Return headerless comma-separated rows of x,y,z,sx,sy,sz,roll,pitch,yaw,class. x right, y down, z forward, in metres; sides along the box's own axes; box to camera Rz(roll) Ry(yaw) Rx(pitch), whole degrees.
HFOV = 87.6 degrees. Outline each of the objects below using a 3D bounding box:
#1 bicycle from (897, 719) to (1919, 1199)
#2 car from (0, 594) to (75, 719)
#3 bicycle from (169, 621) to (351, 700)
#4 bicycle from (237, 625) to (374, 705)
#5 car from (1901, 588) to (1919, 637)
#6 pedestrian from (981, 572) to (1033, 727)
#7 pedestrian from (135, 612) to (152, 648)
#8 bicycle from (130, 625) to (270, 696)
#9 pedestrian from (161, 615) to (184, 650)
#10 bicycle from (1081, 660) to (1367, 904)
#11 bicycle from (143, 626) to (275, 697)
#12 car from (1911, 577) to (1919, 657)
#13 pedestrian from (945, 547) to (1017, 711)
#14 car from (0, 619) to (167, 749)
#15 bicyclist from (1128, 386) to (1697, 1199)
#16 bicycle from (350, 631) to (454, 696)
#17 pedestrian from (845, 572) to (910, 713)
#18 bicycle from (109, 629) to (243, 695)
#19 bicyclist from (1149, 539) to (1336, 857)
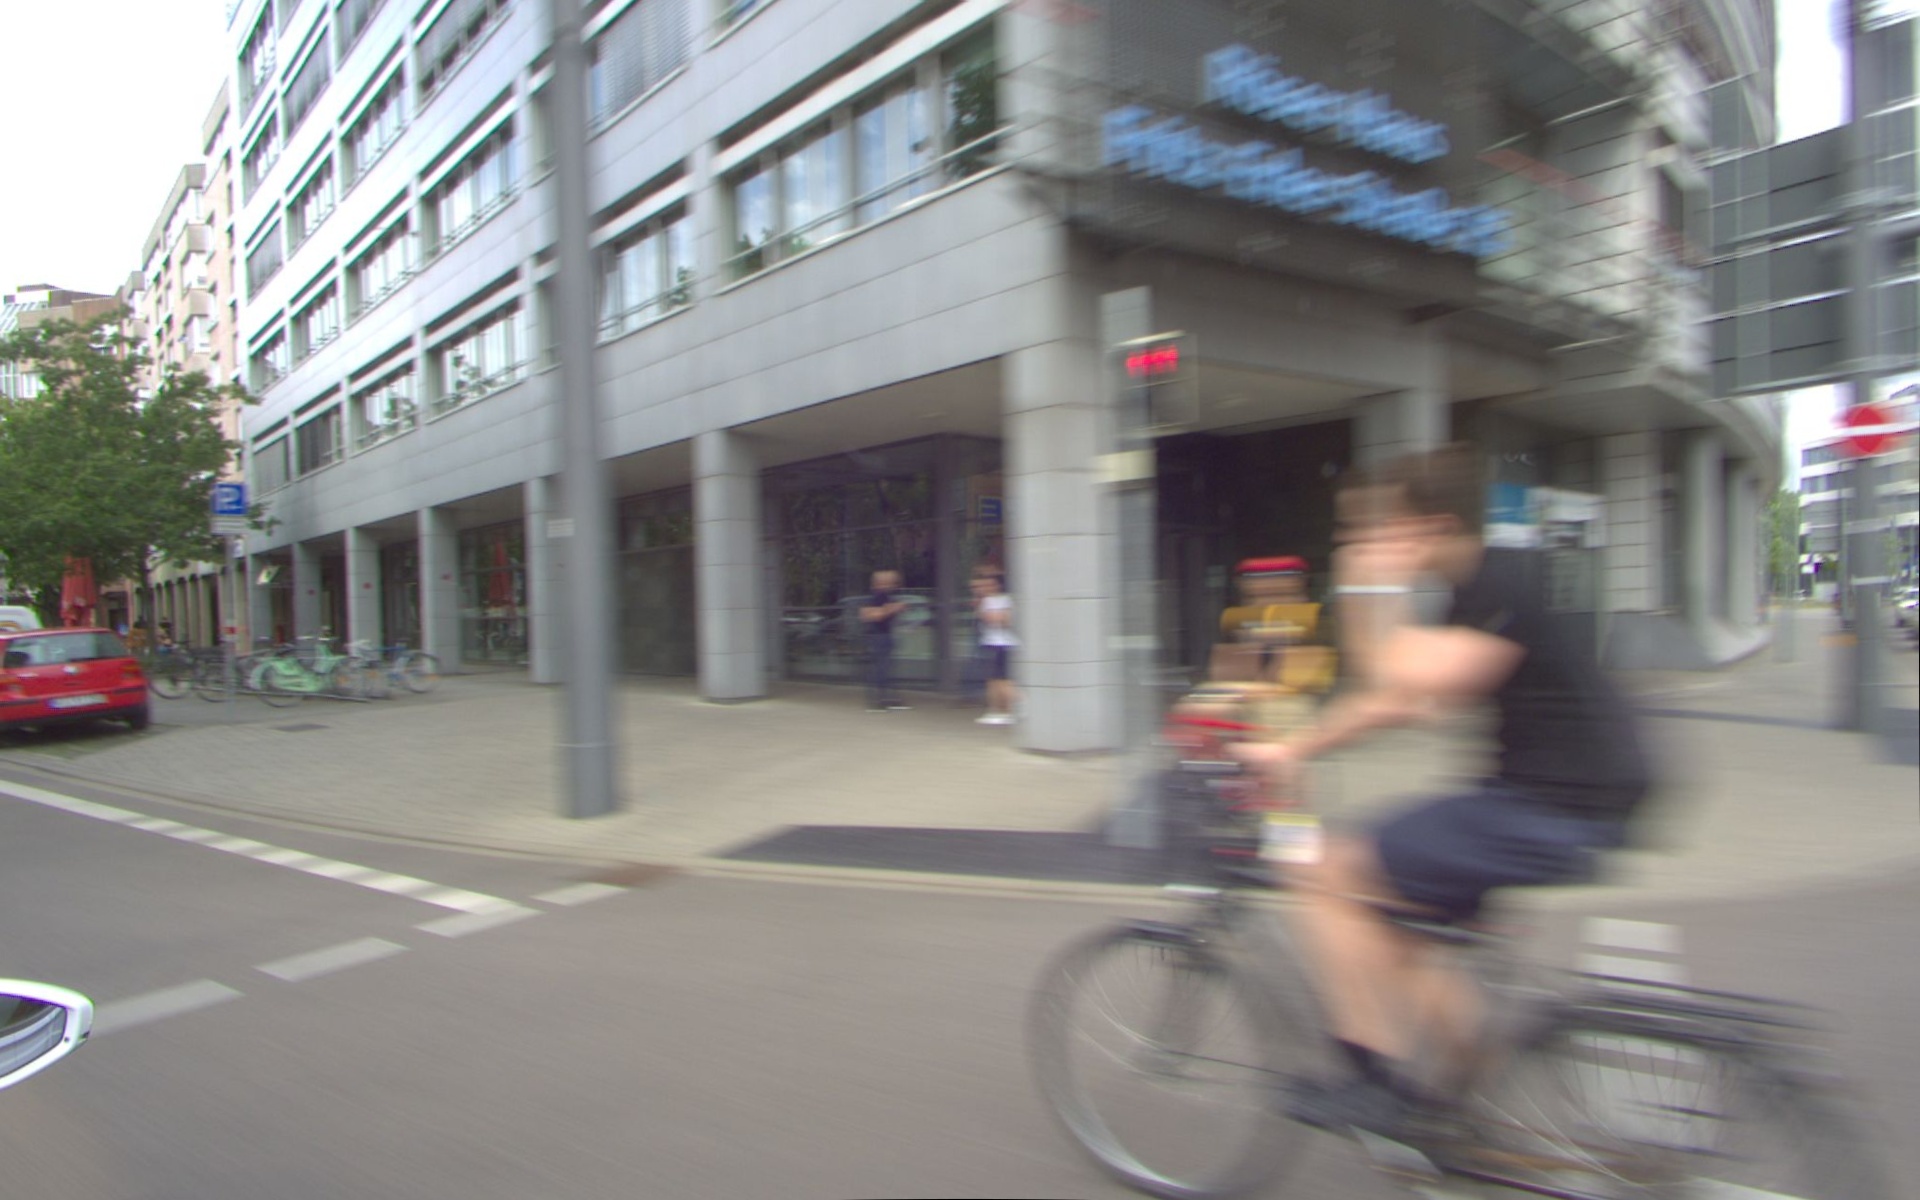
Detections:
0.863,0.936,2.305,2.062,1.154,0.592,-1,1,34,bicycle
-16.691,0.913,16.464,4.579,1.890,1.823,-1,2,31,car
-12.484,1.031,17.986,0.646,1.275,2.626,0,0,33,bicycle
-10.579,1.024,16.253,0.485,1.154,1.848,-1,1,26,bicycle
31.097,0.339,31.612,1.803,1.479,3.967,-3,-1,41,car
0.547,0.561,11.560,0.545,1.750,0.495,0,2,9,pedestrian
-36.347,1.341,44.557,0.508,1.576,0.468,-2,1,-44,pedestrian
-14.428,1.120,19.062,0.474,1.213,2.045,0,0,40,bicycle
-35.594,1.465,45.271,0.705,1.576,0.791,-2,1,-44,pedestrian
1.660,1.004,6.117,1.883,1.154,0.720,-1,1,-40,bicycle
-14.011,1.127,18.738,0.474,1.213,1.899,0,0,40,bicycle
22.216,0.351,21.905,1.802,1.784,3.967,-2,0,41,car
0.274,0.349,12.901,0.666,2.041,0.599,3,3,39,pedestrian
-12.656,1.035,13.757,4.199,1.452,1.715,-1,3,37,car
0.975,0.543,2.218,1.020,1.792,0.588,-1,1,34,bicyclist
-9.525,1.062,17.156,0.416,1.000,1.556,0,1,28,bicycle
-1.062,0.524,12.861,0.636,1.750,0.542,1,2,44,pedestrian
-15.628,1.209,20.012,0.474,1.213,2.045,0,0,40,bicycle
1.749,0.547,6.186,0.905,1.788,0.713,-2,1,-39,bicyclist
